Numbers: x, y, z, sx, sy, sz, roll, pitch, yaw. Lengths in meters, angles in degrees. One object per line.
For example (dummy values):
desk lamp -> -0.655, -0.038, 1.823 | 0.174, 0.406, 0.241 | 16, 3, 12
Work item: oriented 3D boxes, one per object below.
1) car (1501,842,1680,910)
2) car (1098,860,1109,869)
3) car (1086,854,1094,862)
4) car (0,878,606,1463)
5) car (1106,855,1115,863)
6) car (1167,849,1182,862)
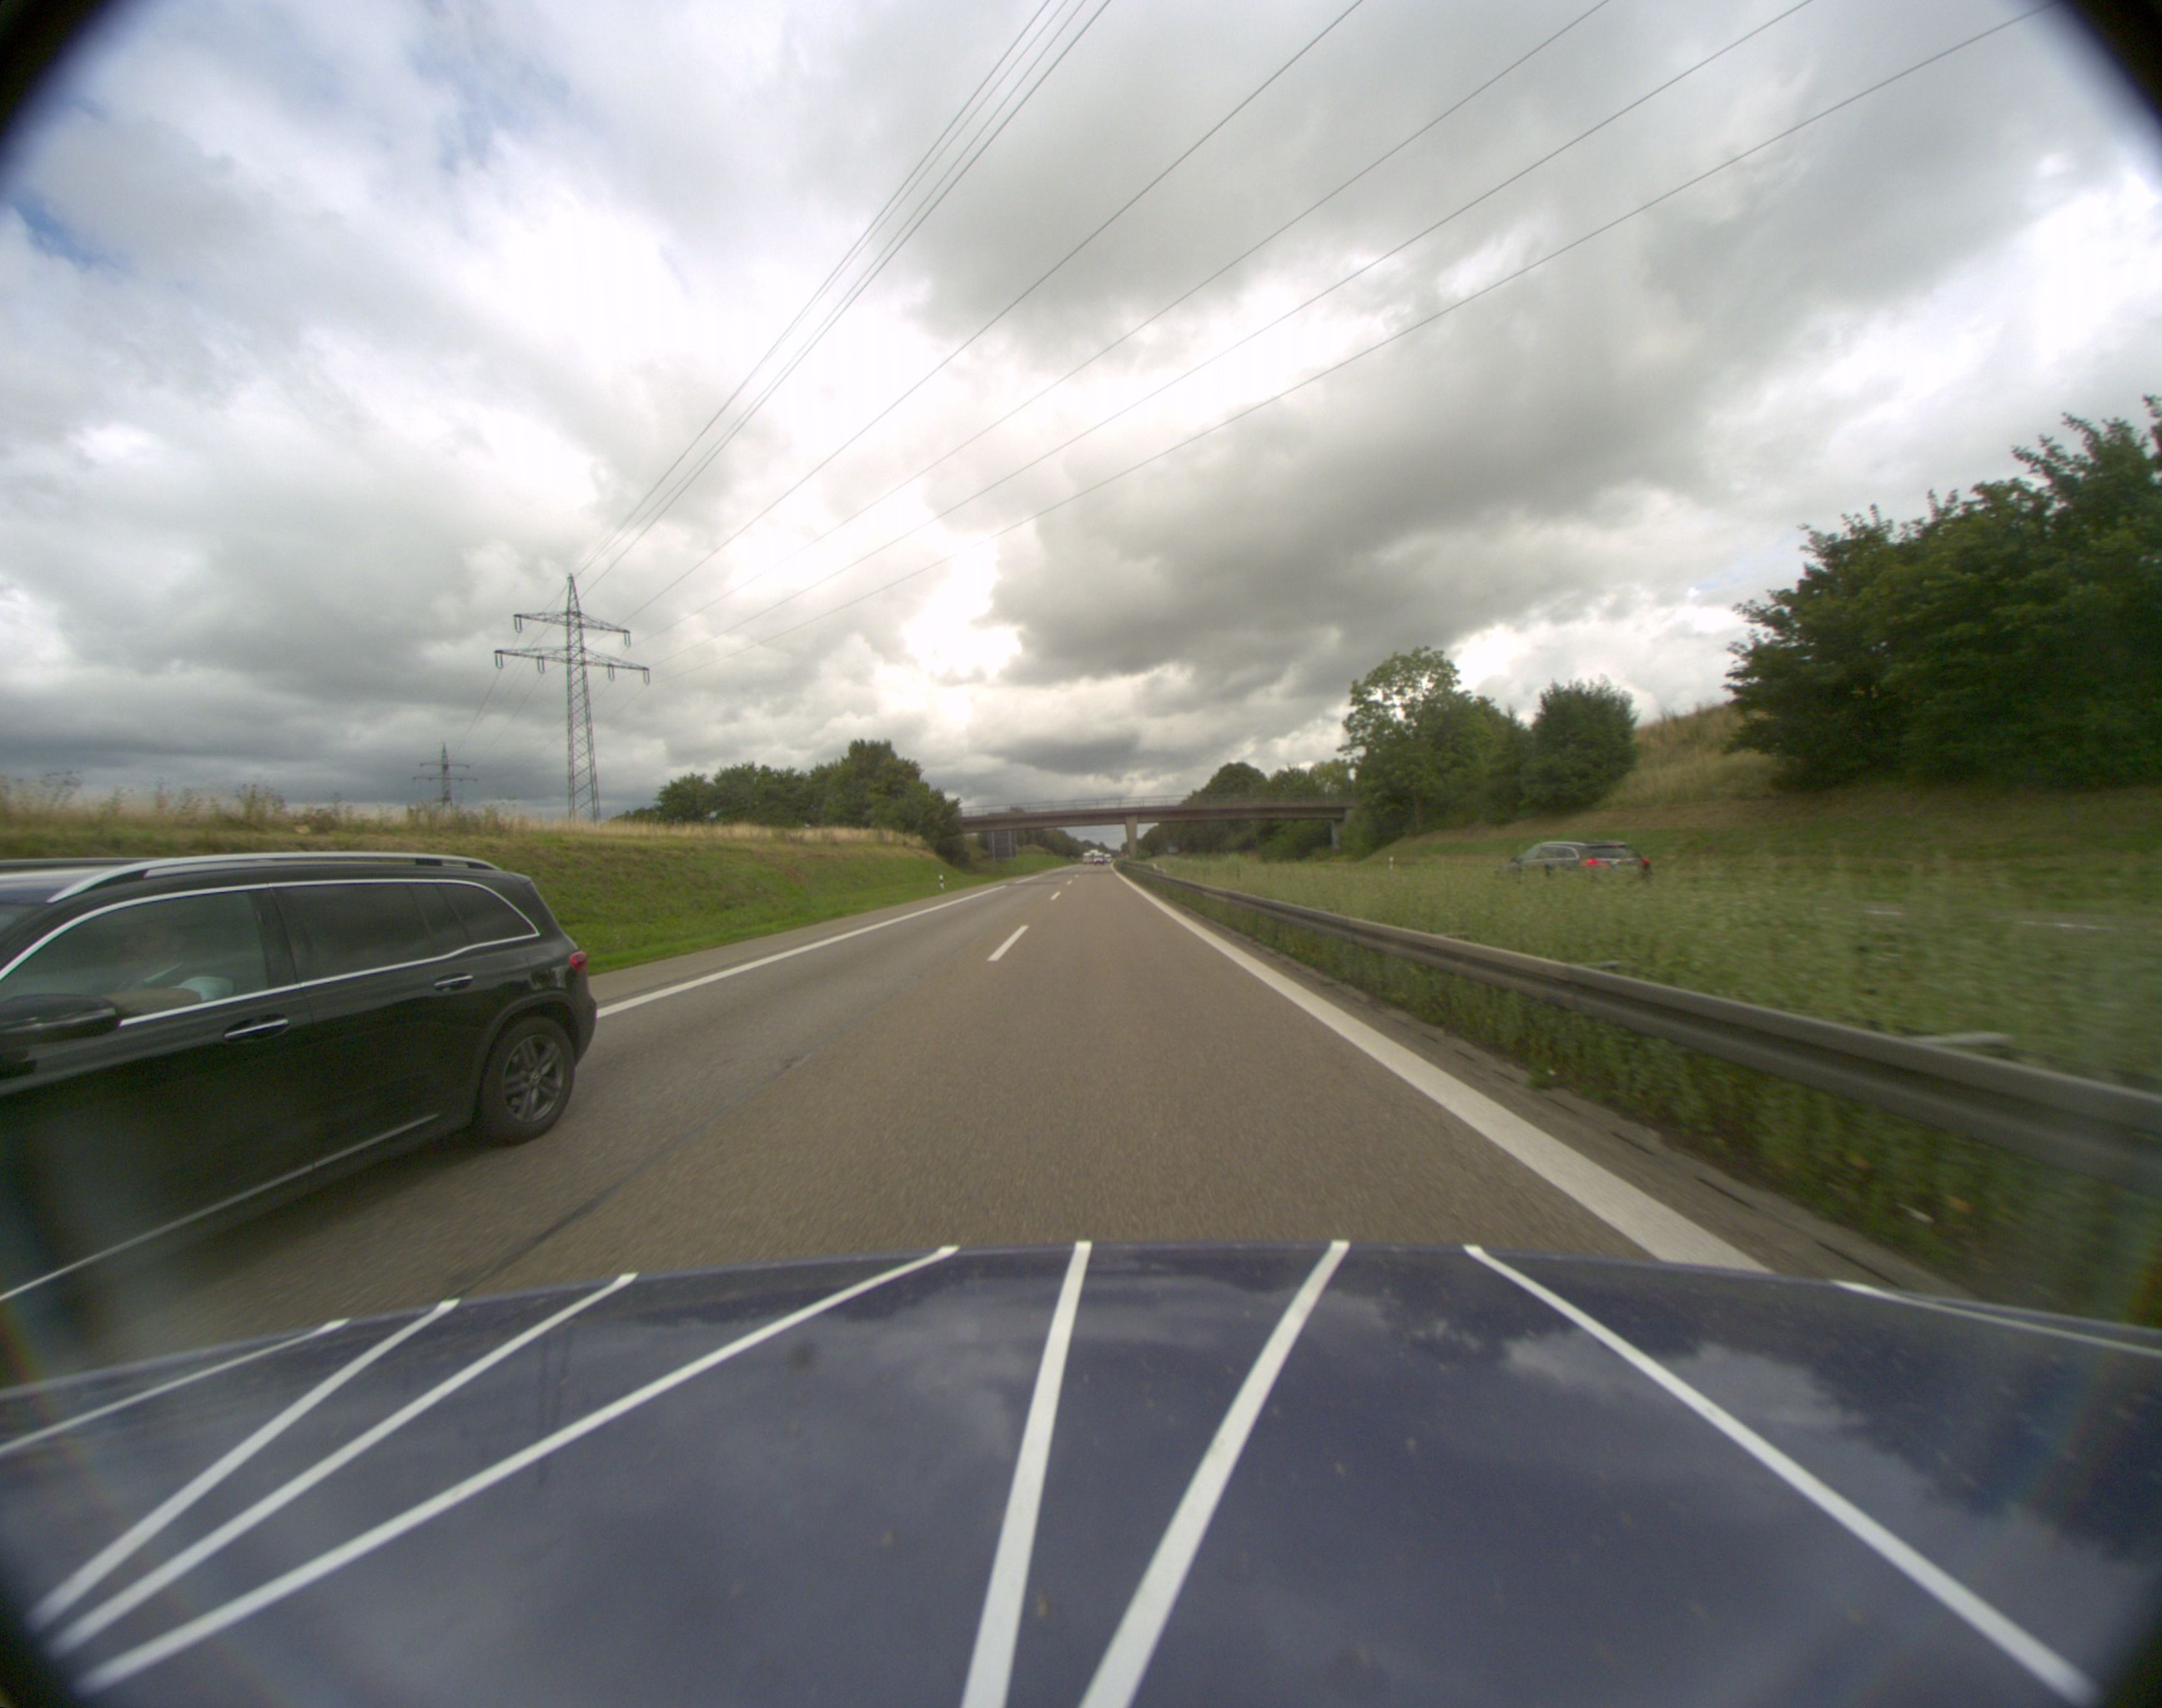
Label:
car -> 12.504, 0.482, 18.986 | 1.751, 1.444, 3.999 | -2, 0, 0
car -> 4.637, 2.164, 157.750 | 1.999, 1.812, 4.342 | -2, 0, -1
car -> 2.175, 0.897, 186.898 | 1.833, 1.849, 5.790 | 0, 0, -1
car -> -4.081, 0.995, 2.778 | 1.838, 1.600, 4.360 | -1, 0, 1
car -> 7.127, 1.294, 184.307 | 1.999, 1.695, 4.662 | -4, -1, 0
car -> 15.537, 0.199, 125.967 | 1.998, 2.002, 4.000 | -2, 1, 1
